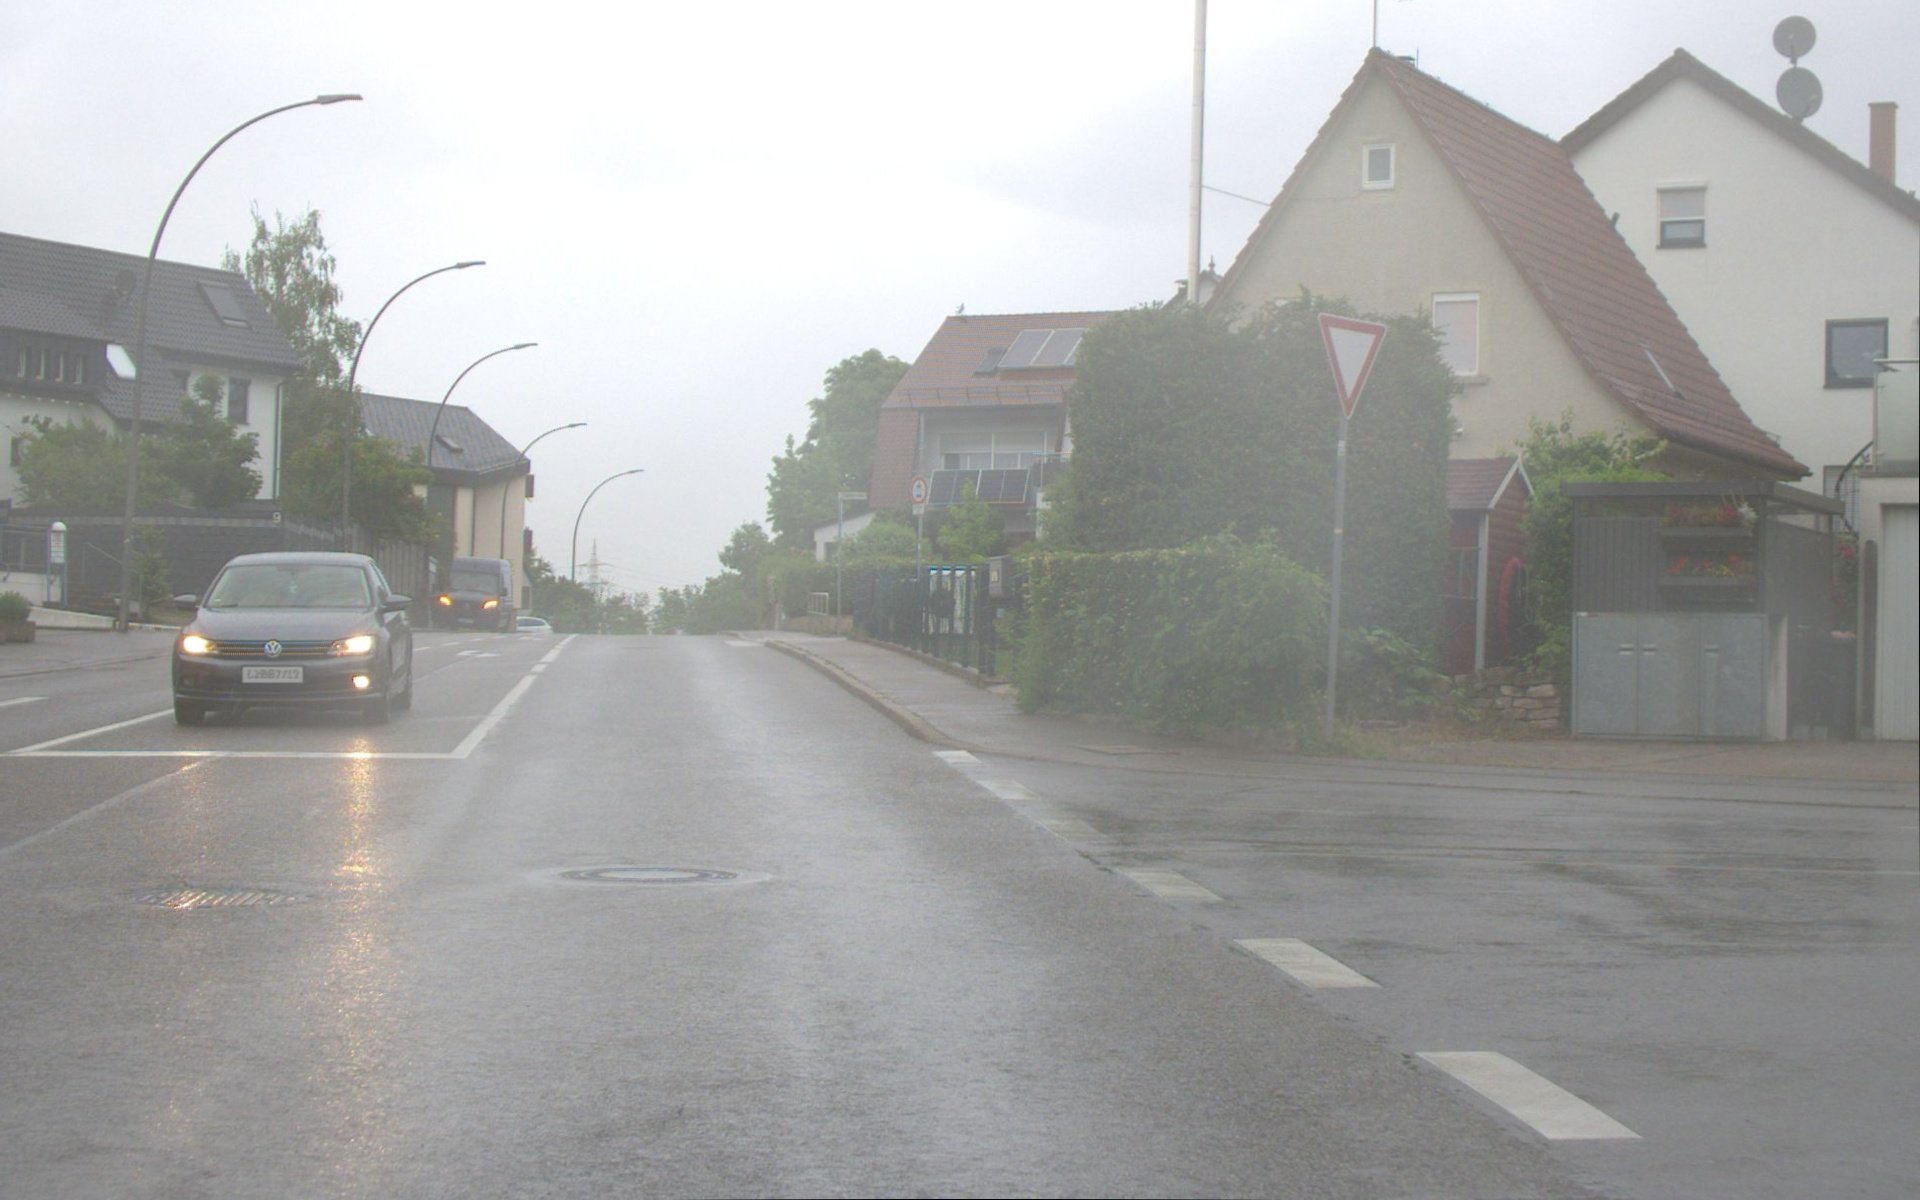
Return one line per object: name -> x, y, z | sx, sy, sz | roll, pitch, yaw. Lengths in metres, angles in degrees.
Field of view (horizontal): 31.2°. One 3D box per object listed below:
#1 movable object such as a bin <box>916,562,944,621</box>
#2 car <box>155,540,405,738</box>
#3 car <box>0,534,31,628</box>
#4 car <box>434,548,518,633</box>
movable object such as a bin -> -0.523, -0.144, 59.947 | 0.443, 1.018, 0.524 | 0, 0, 2
car -> -5.788, 0.275, 29.465 | 1.943, 1.568, 4.227 | 0, 1, -10
car -> -15.841, -0.325, 51.807 | 1.902, 1.437, 3.826 | 3, 1, 13
car -> -16.359, -0.284, 116.455 | 2.094, 2.640, 5.918 | 3, -1, -2
